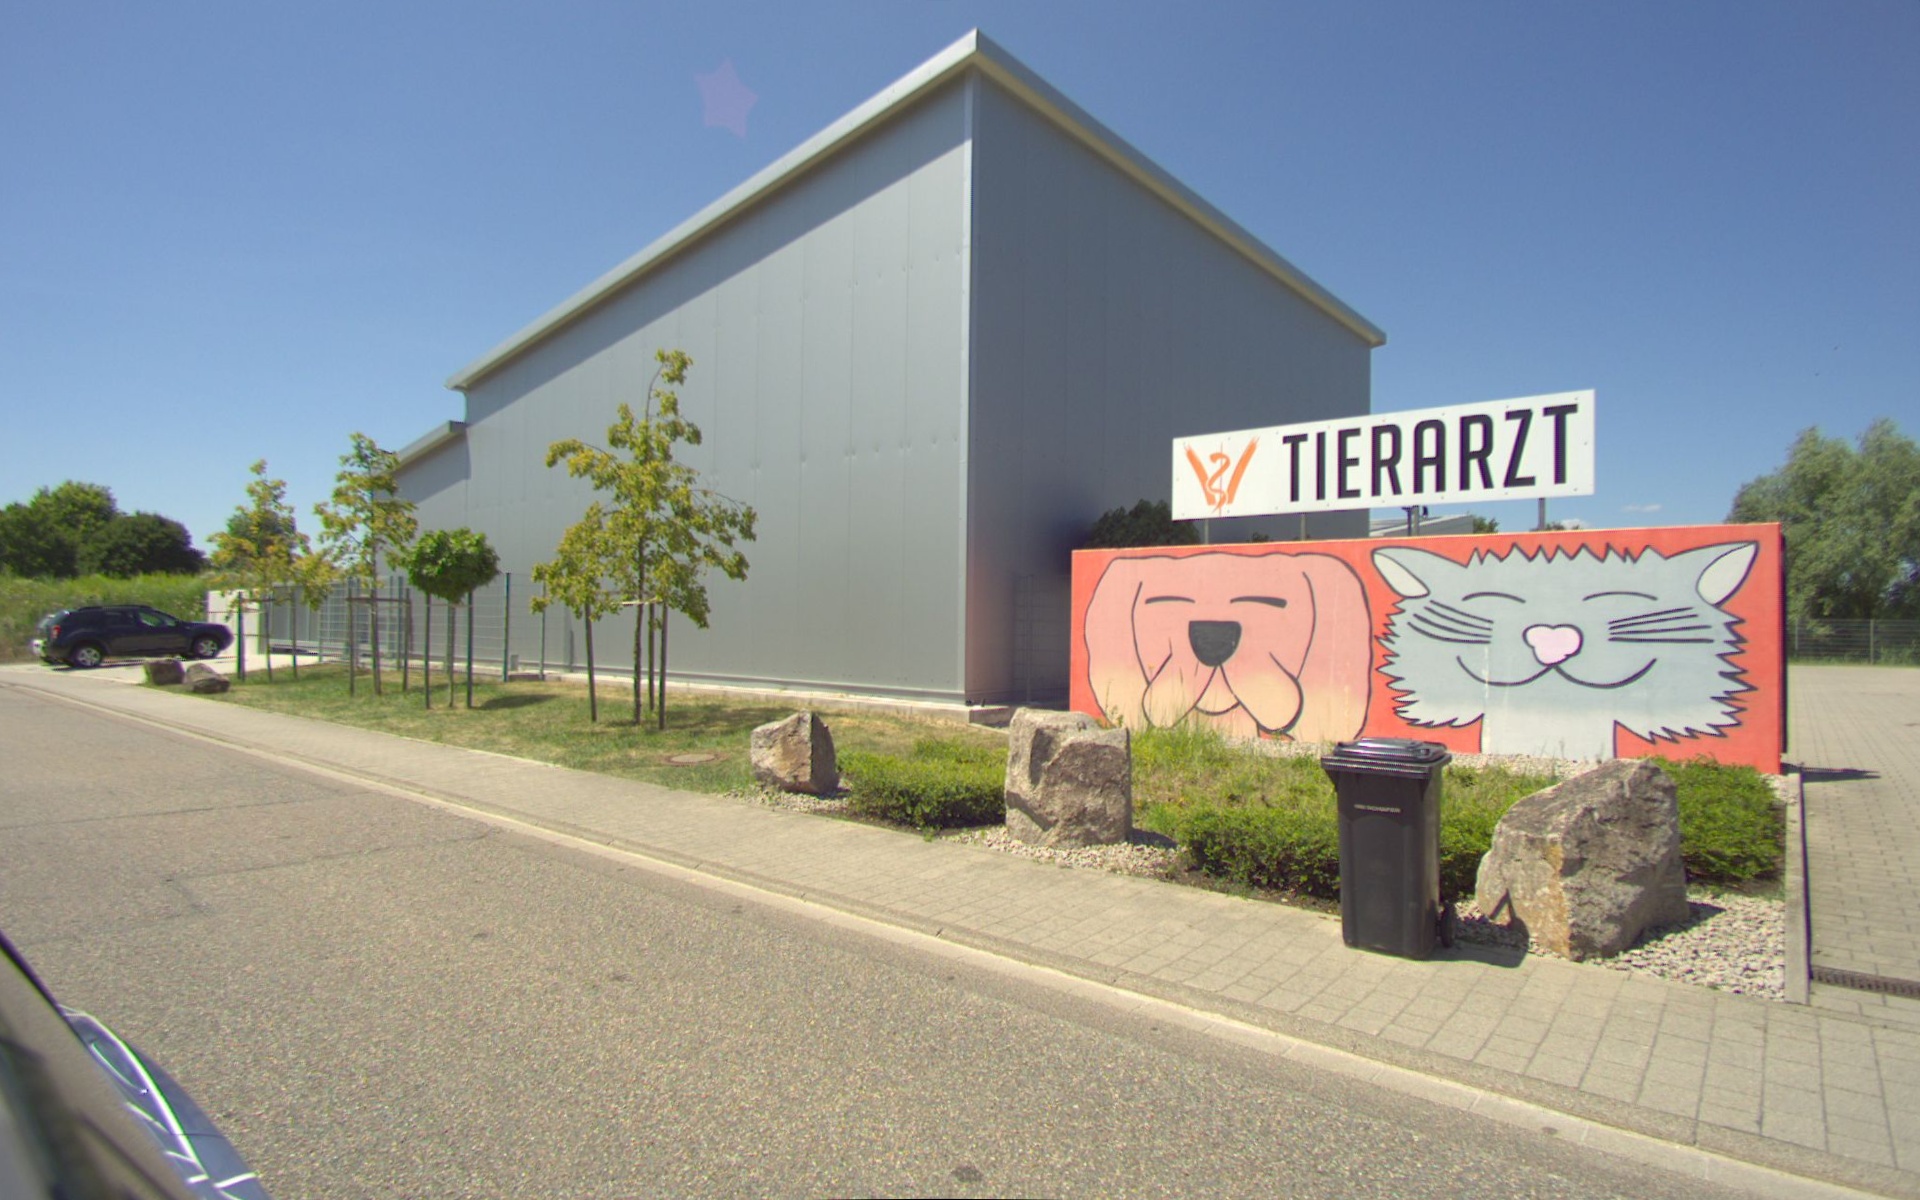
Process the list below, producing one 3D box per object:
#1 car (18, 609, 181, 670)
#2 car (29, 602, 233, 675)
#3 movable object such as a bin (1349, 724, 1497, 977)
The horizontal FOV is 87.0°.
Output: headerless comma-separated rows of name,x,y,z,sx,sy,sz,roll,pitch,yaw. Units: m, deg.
car,-25.448,1.114,30.011,1.779,1.472,3.330,0,3,38
car,-23.244,1.010,28.512,1.780,1.671,4.121,0,3,40
movable object such as a bin,2.083,1.074,4.538,0.511,0.957,0.566,-1,-2,34
